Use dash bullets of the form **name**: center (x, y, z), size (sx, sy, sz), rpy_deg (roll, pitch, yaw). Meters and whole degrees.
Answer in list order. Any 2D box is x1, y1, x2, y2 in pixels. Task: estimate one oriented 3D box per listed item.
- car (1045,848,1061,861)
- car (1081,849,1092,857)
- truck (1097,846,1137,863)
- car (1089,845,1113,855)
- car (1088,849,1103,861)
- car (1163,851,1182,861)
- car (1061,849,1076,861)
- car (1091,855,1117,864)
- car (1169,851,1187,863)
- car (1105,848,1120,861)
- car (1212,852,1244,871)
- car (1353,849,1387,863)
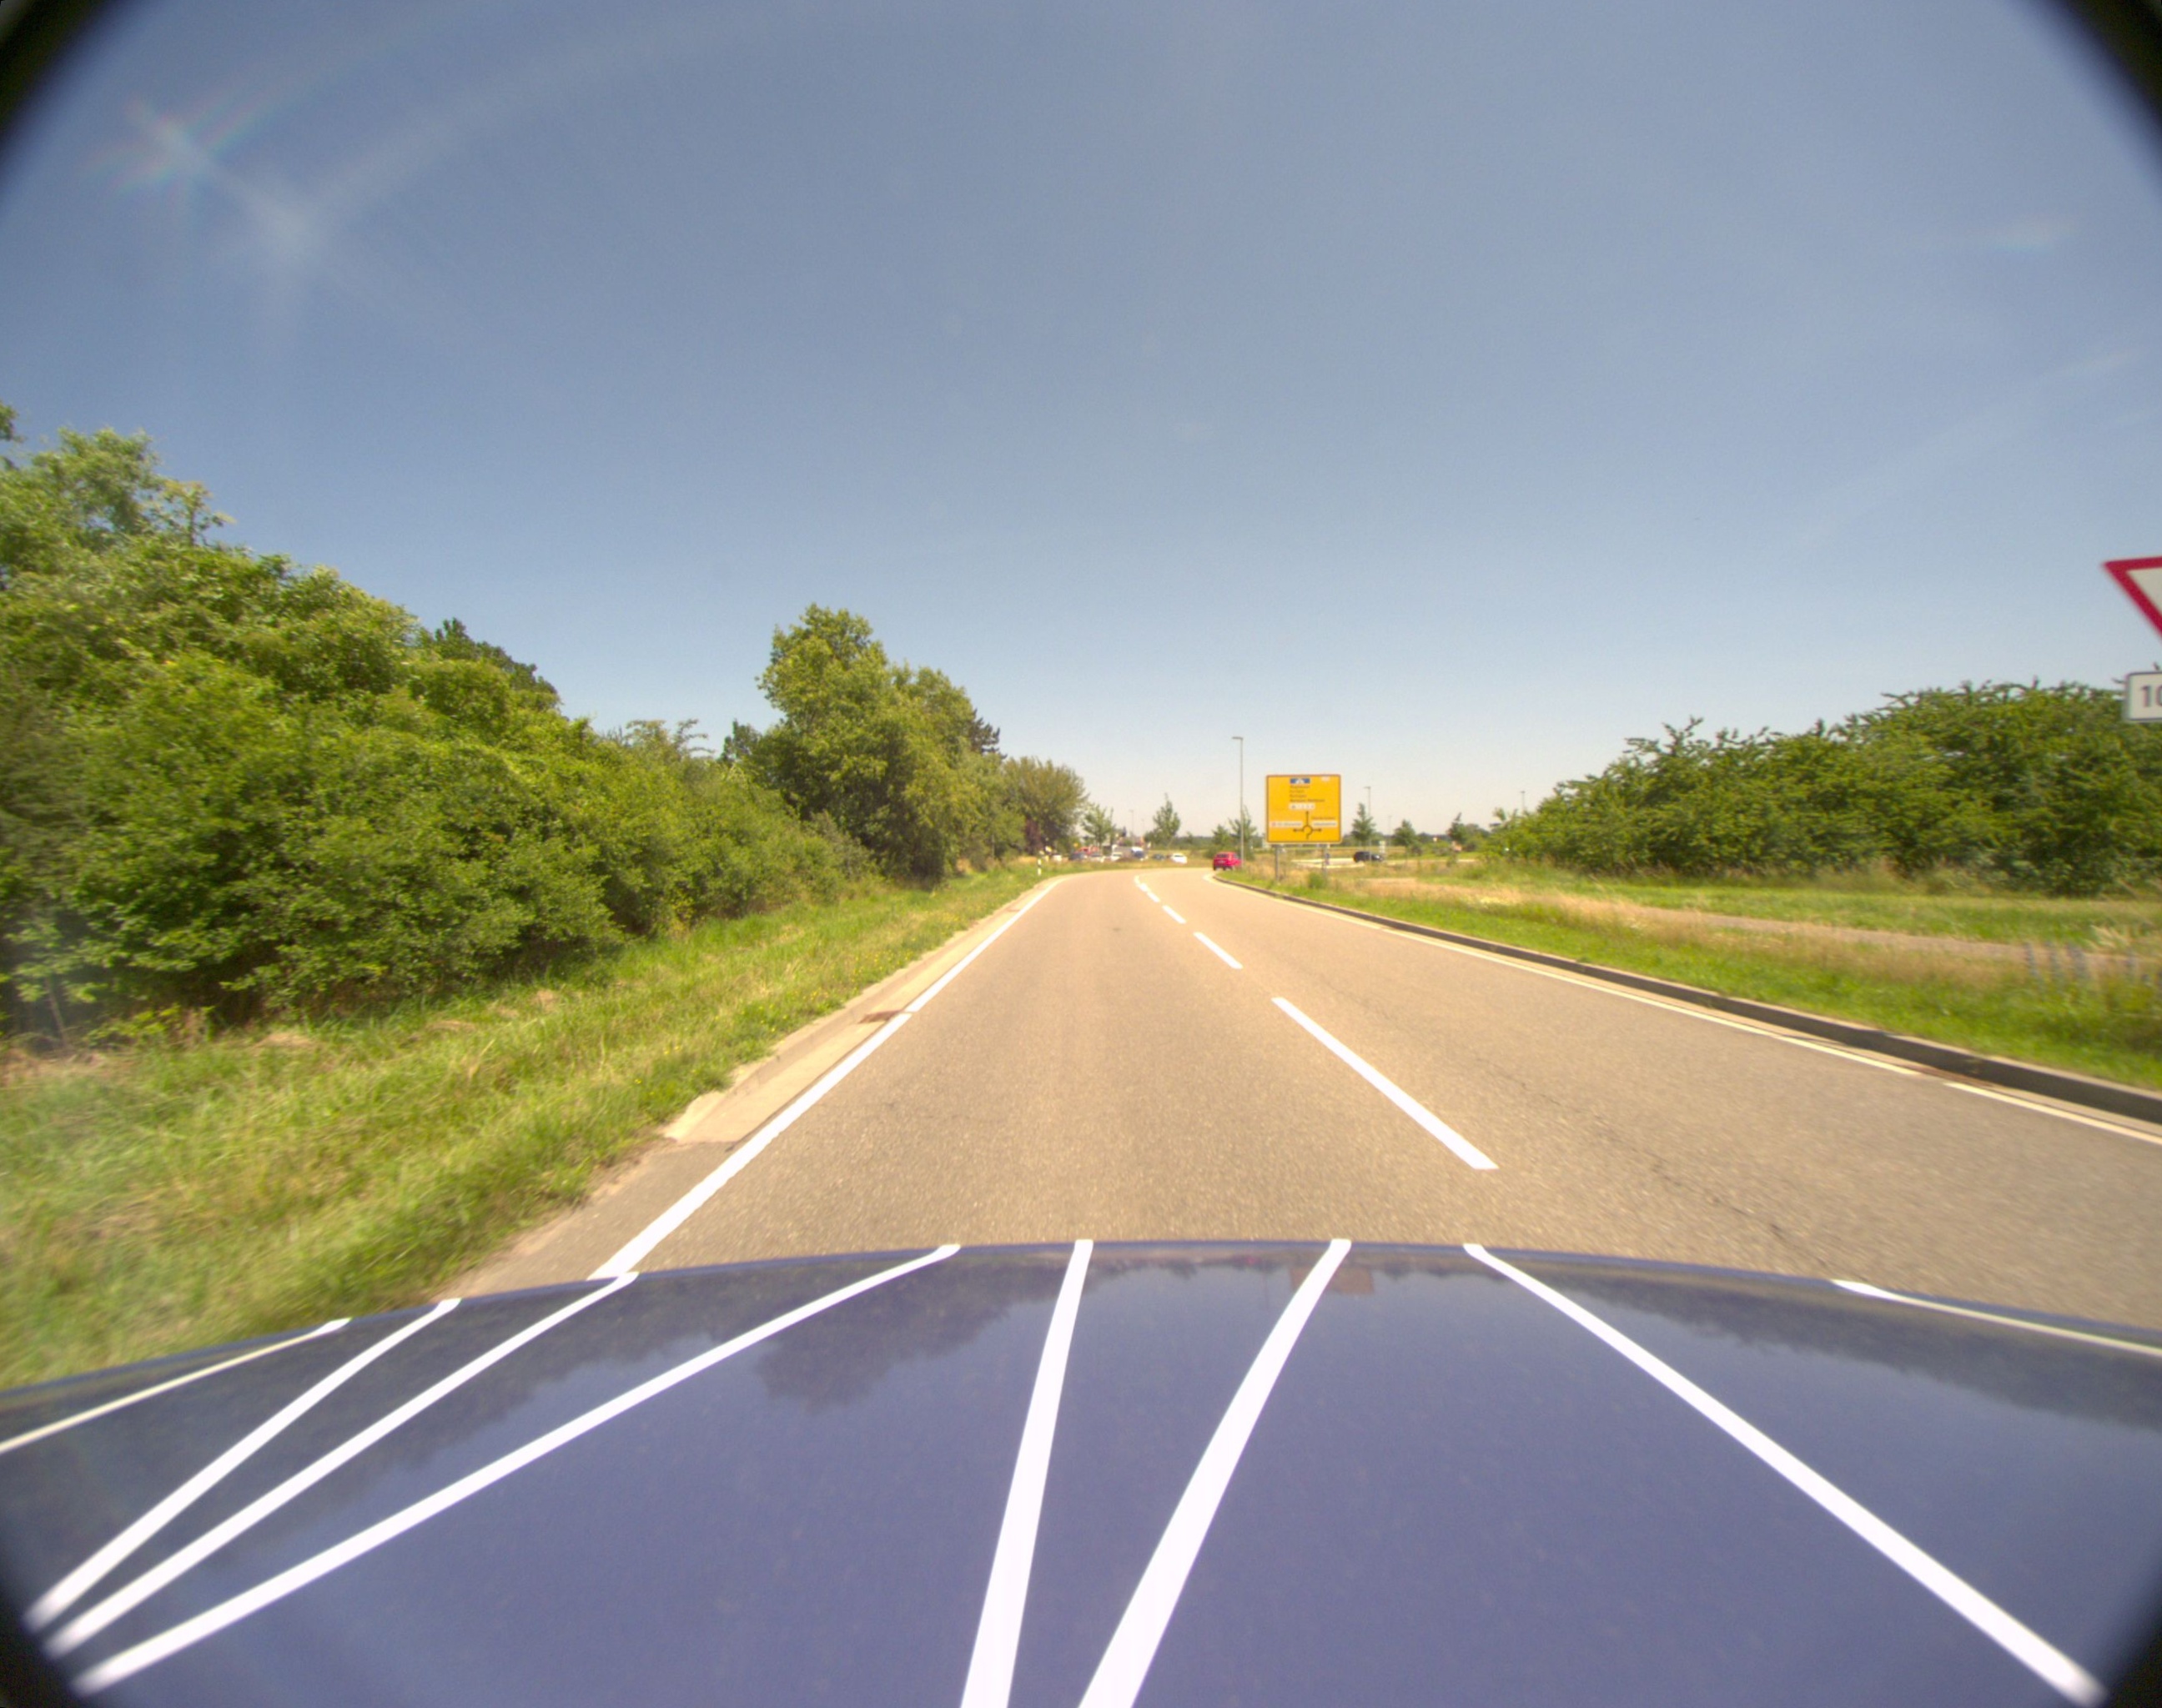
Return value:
- **car**: center (-3.503, 0.077, 95.359), size (1.772, 1.434, 3.967), rpy_deg (0, -1, 0)
- **car**: center (1.105, -0.270, 145.594), size (1.854, 1.487, 3.998), rpy_deg (0, 1, -3)
- **truck**: center (5.151, 0.064, 109.442), size (5.619, 2.492, 2.242), rpy_deg (0, 1, 44)
- **car**: center (5.397, -1.066, 202.244), size (6.125, 2.569, 2.359), rpy_deg (0, 1, 12)
- **car**: center (1.799, 0.128, 93.829), size (1.773, 1.434, 3.967), rpy_deg (0, -1, -1)
- **car**: center (12.694, 0.235, 105.342), size (1.747, 1.304, 3.997), rpy_deg (0, 1, -6)
- **car**: center (-1.540, 0.130, 95.128), size (1.772, 1.434, 3.967), rpy_deg (0, -1, 0)
- **car**: center (3.594, 0.802, 118.976), size (3.988, 1.385, 1.654), rpy_deg (0, 1, 42)
- **car**: center (12.152, 0.343, 95.312), size (1.746, 1.419, 3.999), rpy_deg (0, 1, -1)
- **car**: center (3.950, 0.078, 94.948), size (1.772, 1.434, 3.967), rpy_deg (0, -1, 1)
- **car**: center (11.862, 0.593, 61.133), size (1.656, 1.425, 3.743), rpy_deg (1, 1, 25)
- **car**: center (39.183, 0.248, 103.226), size (1.871, 1.812, 4.512), rpy_deg (-2, 1, -19)
